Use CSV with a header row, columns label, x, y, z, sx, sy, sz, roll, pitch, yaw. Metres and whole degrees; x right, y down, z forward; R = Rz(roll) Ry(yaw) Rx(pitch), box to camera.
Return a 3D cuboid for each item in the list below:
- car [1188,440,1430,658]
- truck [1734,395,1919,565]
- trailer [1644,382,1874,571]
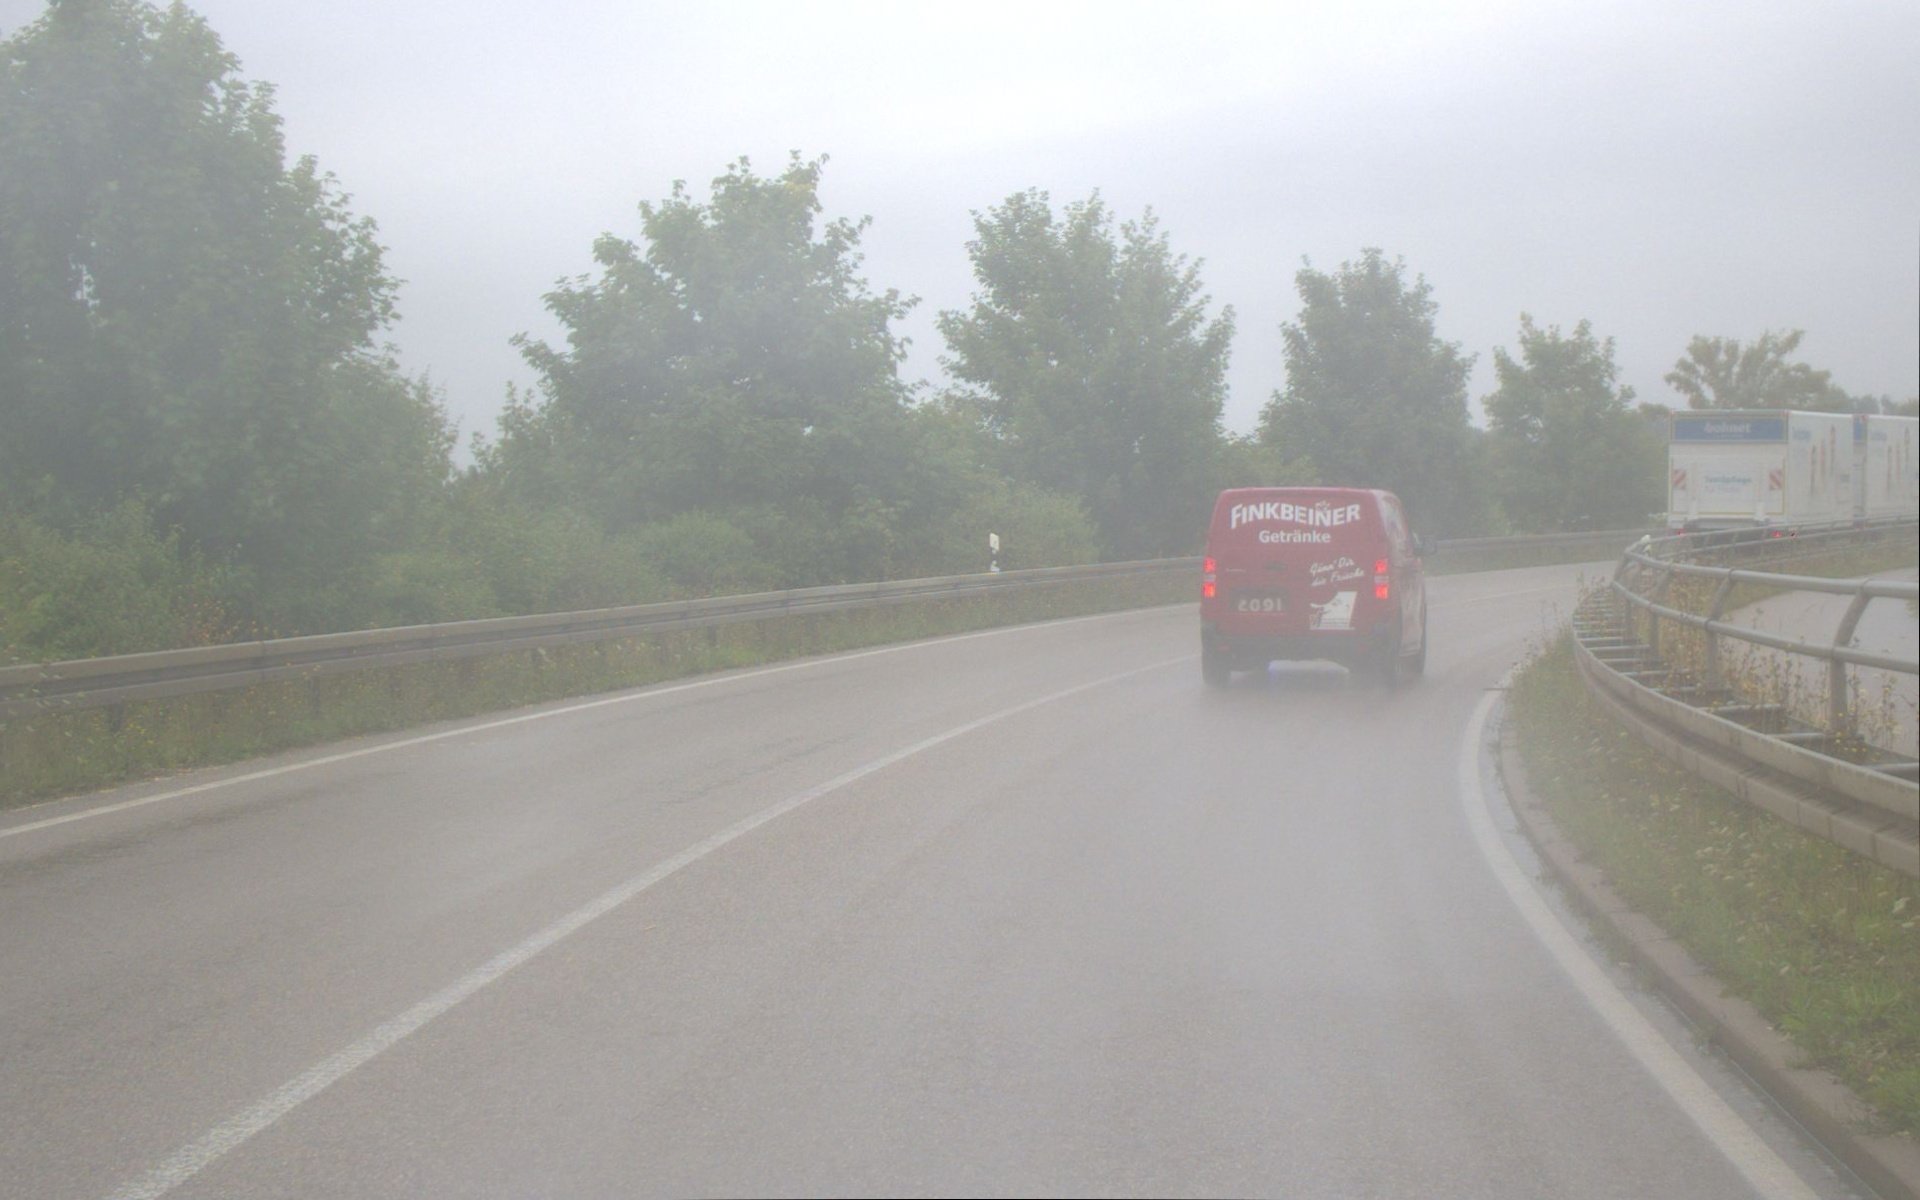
label,x,y,z,sx,sy,sz,roll,pitch,yaw
car,3.489,-0.540,33.716,1.994,1.919,4.142,-2,2,10
truck,21.413,-2.845,83.731,3.205,3.908,8.728,1,1,25
trailer,17.725,-2.648,75.801,3.205,3.908,8.728,1,1,25
